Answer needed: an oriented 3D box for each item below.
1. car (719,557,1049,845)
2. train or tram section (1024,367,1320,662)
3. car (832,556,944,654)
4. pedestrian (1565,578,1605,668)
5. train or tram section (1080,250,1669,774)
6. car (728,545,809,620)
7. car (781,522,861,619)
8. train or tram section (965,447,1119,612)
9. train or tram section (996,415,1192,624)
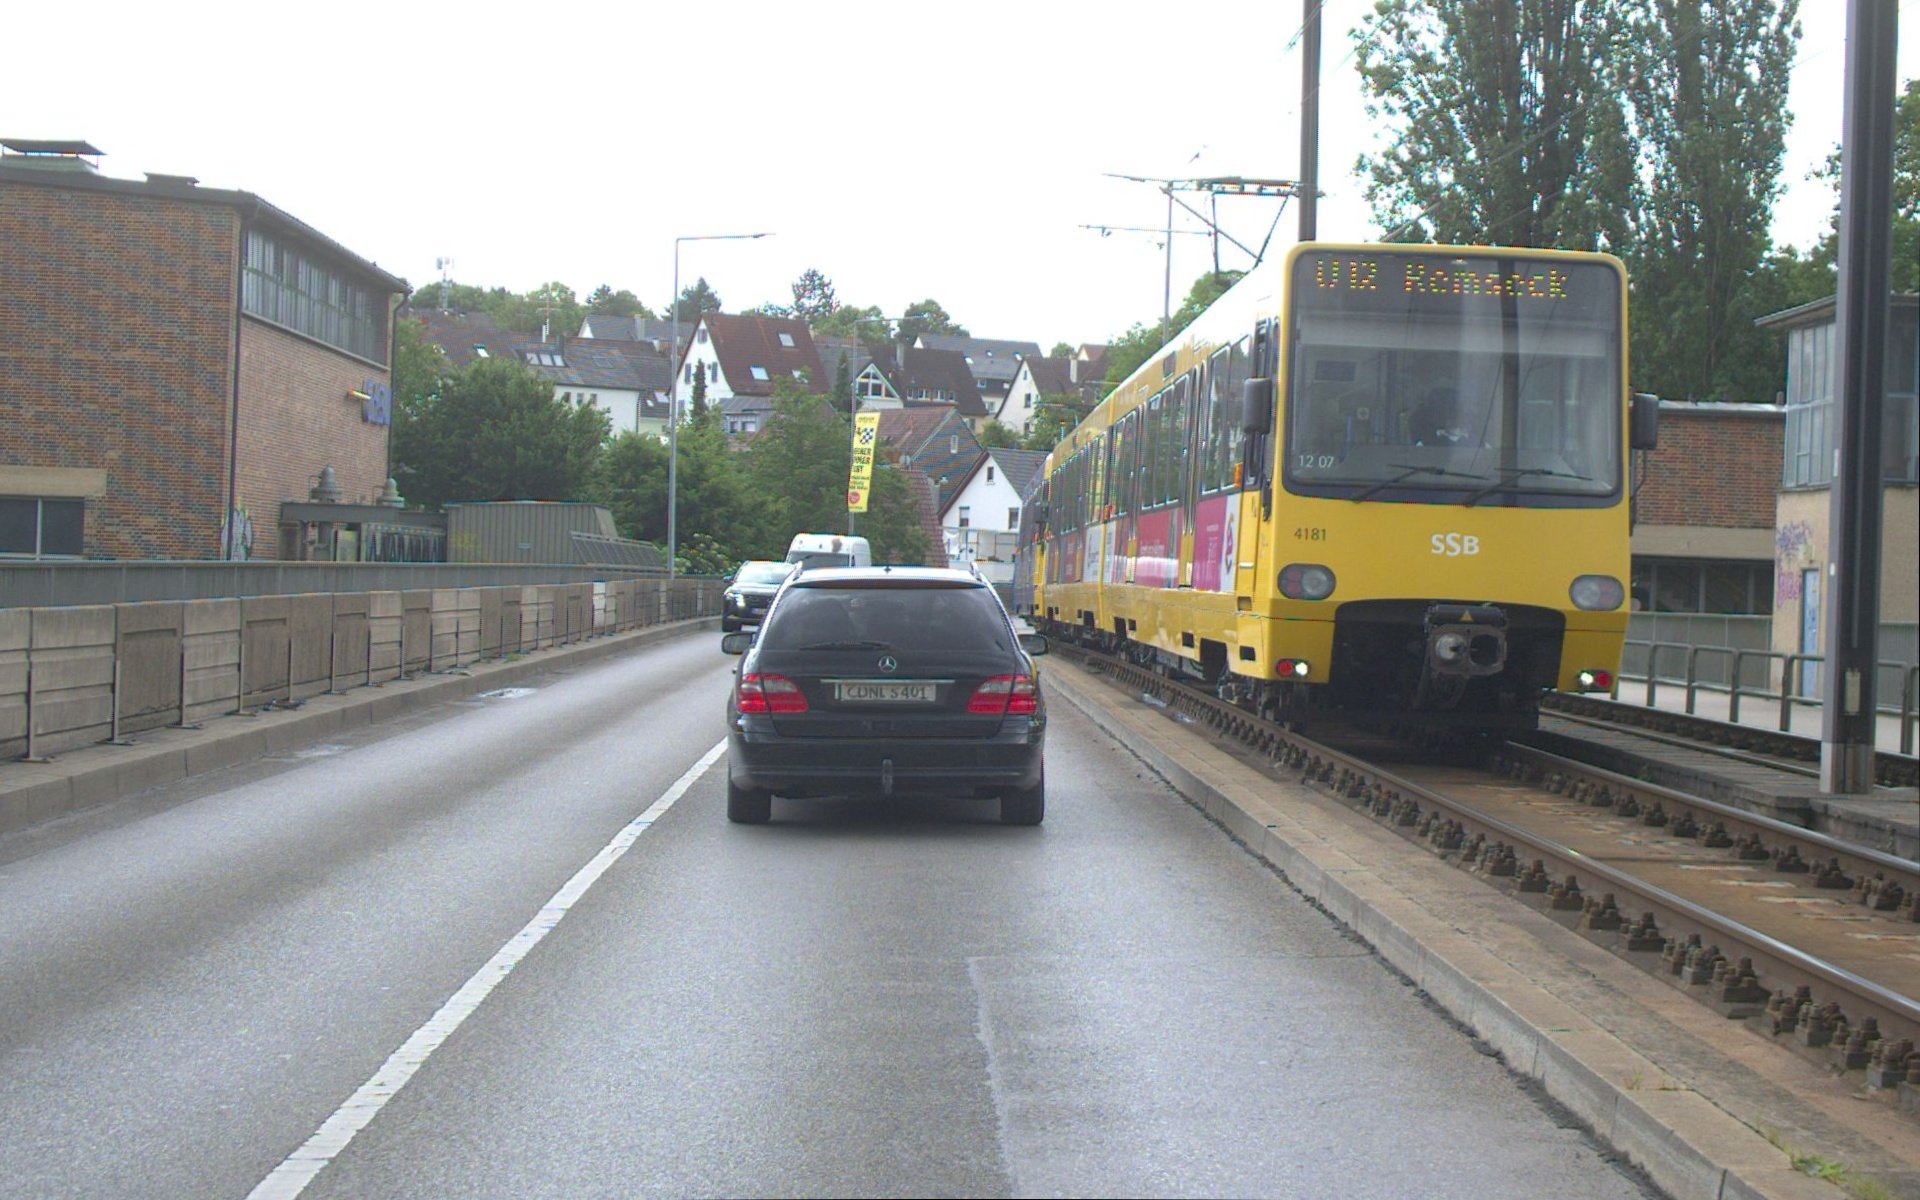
[{"bbox_3d":[-0.473,0.515,20.638,1.759,1.510,4.443,0,1,-2],"label":"car"},{"bbox_3d":[2.743,-1.229,50.958,2.829,3.568,18.669,0,1,-1],"label":"train or tram section"},{"bbox_3d":[-1.241,0.056,57.849,1.770,1.550,4.241,1,1,-3],"label":"car"},{"bbox_3d":[11.247,0.407,61.875,0.577,1.604,0.613,1,1,0],"label":"pedestrian"},{"bbox_3d":[3.098,-0.784,32.315,2.882,3.497,18.669,0,1,-1],"label":"train or tram section"},{"bbox_3d":[-4.373,-0.424,79.017,1.715,1.640,4.001,0,2,-1],"label":"car"},{"bbox_3d":[-3.850,-0.862,95.967,2.033,2.552,7.008,1,2,-1],"label":"car"},{"bbox_3d":[1.939,-1.758,90.188,2.793,3.751,19.894,2,1,-2],"label":"train or tram section"},{"bbox_3d":[2.458,-1.530,70.312,2.784,3.643,19.894,0,1,-1],"label":"train or tram section"}]
